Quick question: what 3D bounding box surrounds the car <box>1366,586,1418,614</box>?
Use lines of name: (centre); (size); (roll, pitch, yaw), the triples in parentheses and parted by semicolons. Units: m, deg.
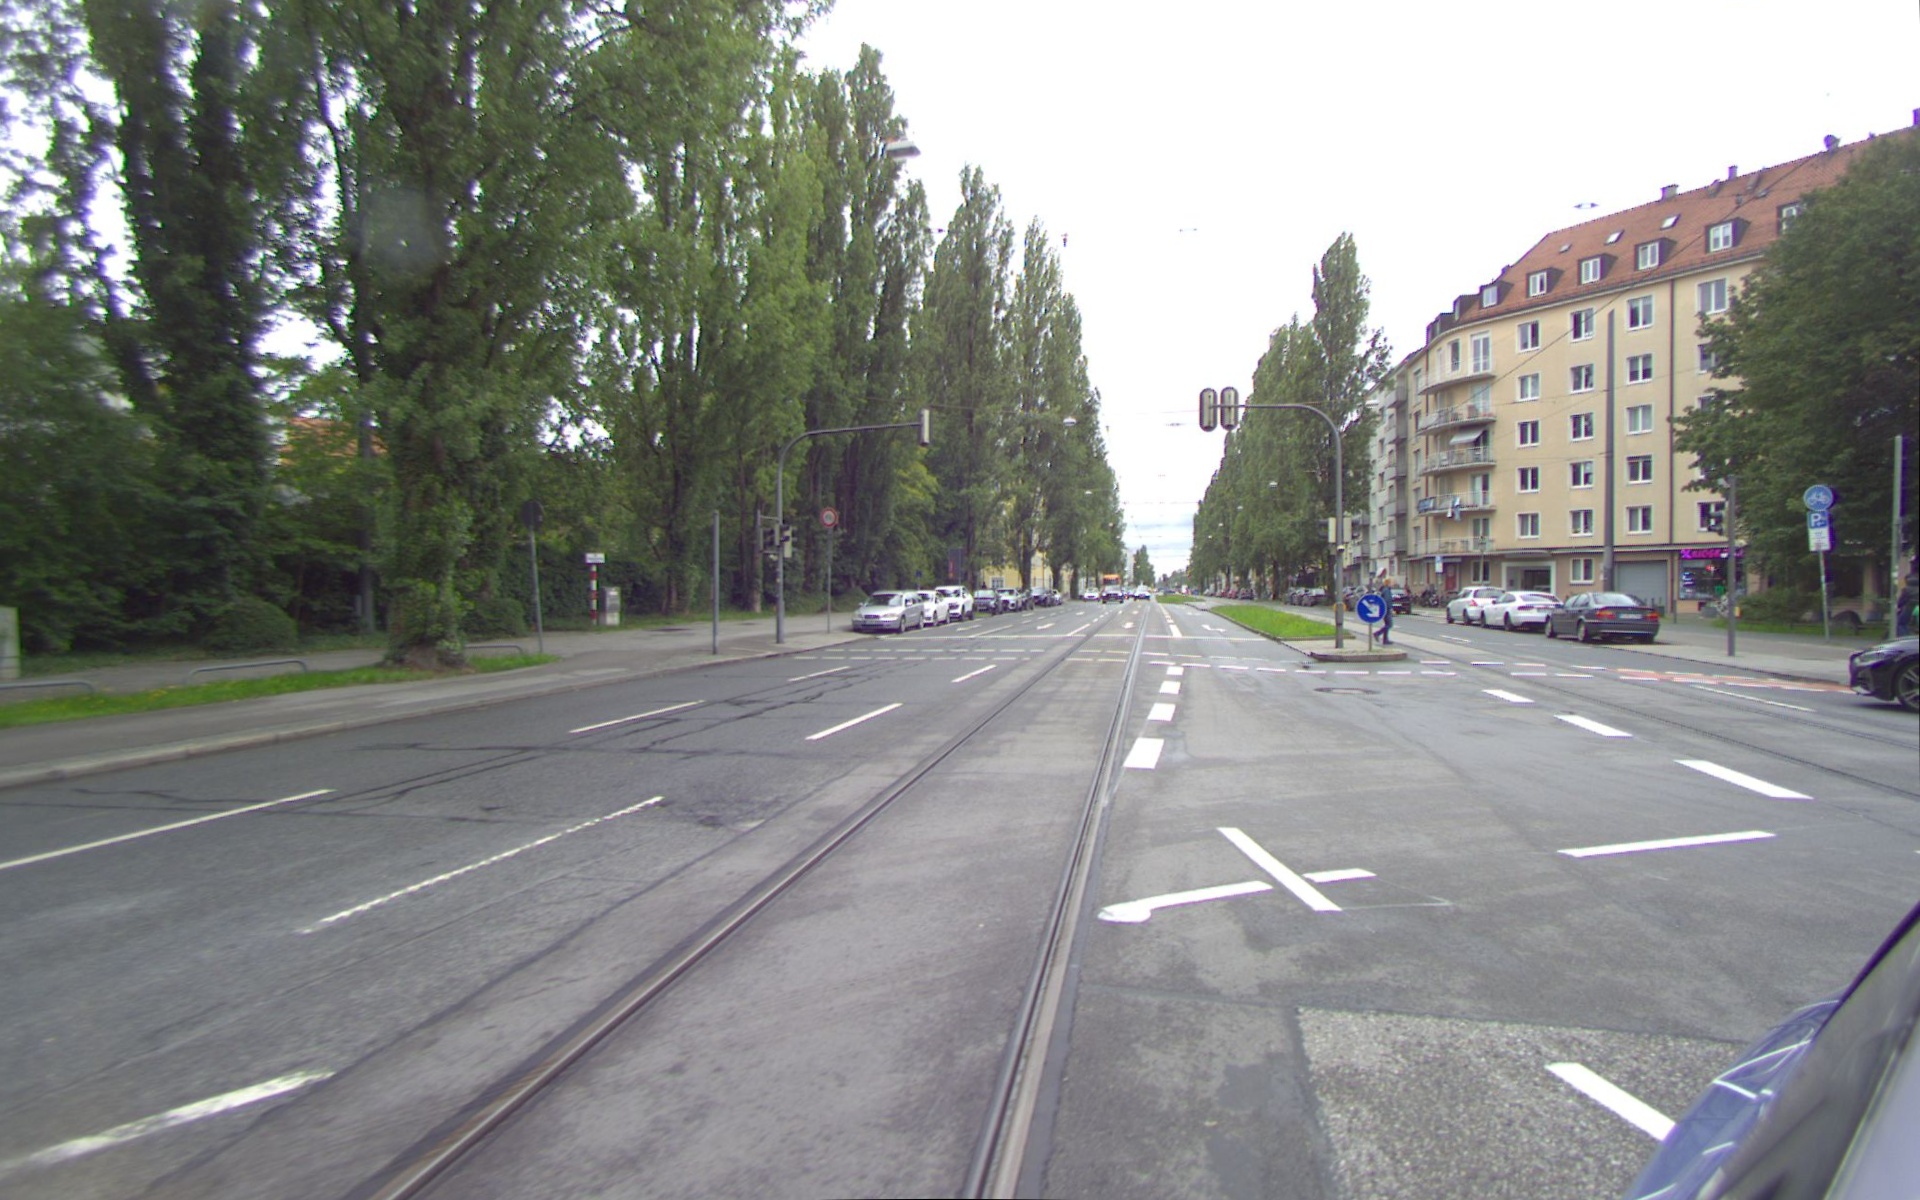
car: (23.220, -0.016, 54.576); (1.704, 1.424, 4.460); (0, 1, 12)

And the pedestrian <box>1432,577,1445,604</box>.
pedestrian: (30.651, -0.608, 64.840); (0.537, 1.686, 0.651); (-1, -1, 7)

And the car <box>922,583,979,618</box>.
car: (-0.380, -0.020, 46.609); (1.759, 1.504, 4.125); (0, 1, 12)

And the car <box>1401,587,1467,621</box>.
car: (21.496, 0.149, 46.057); (1.704, 1.424, 4.360); (0, 1, 12)

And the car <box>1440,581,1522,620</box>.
car: (20.347, -0.022, 39.692); (1.704, 1.424, 4.360); (0, 1, 12)

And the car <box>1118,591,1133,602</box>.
car: (22.057, -0.483, 134.992); (1.759, 1.504, 4.125); (0, 1, 12)

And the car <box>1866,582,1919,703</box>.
car: (12.984, 0.504, 10.767); (1.698, 1.407, 4.794); (-1, 1, -38)

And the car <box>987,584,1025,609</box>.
car: (2.955, -0.220, 63.947); (1.759, 1.504, 4.125); (0, 1, 12)

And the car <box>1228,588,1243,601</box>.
car: (40.475, -0.776, 148.793); (1.789, 1.740, 3.988); (-1, -1, 9)

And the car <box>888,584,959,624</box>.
car: (-1.414, 0.124, 41.401); (1.761, 1.504, 4.240); (0, 1, 15)

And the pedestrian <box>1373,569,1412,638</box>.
pedestrian: (10.635, 0.088, 24.890); (0.688, 1.684, 0.552); (1, -2, -33)

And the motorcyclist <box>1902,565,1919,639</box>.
motorcyclist: (19.346, 0.036, 20.093); (0.613, 1.461, 0.876); (-1, 0, 20)

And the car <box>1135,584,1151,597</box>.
car: (21.532, -1.097, 118.969); (1.759, 1.504, 4.125); (0, 1, 12)

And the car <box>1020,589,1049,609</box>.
car: (5.983, -0.117, 80.715); (1.759, 1.504, 4.125); (0, 1, 12)

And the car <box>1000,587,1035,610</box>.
car: (3.971, -0.138, 69.243); (1.759, 1.504, 4.125); (0, 1, 12)

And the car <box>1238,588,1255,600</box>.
car: (39.019, -0.810, 138.057); (1.789, 1.489, 3.988); (-1, -1, 9)

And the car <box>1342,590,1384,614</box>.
car: (25.008, 0.105, 62.857); (1.704, 1.424, 4.194); (0, 1, 12)

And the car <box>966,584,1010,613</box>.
car: (1.630, -0.102, 56.974); (1.759, 1.504, 4.125); (0, 1, 12)

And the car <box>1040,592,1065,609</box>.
car: (8.431, 0.032, 92.190); (1.759, 1.504, 4.125); (0, 1, 12)

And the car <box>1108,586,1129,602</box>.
car: (15.119, -0.582, 96.472); (1.759, 1.504, 4.125); (0, 1, 12)

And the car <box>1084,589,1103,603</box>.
car: (15.006, -0.441, 113.518); (1.759, 1.504, 4.125); (0, 1, 12)

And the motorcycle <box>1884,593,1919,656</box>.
motorcycle: (19.378, 0.495, 20.163); (0.622, 1.184, 2.018); (-2, 1, 19)

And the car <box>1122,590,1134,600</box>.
car: (27.083, -0.848, 163.095); (1.759, 1.504, 4.125); (0, 1, 12)

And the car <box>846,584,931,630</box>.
car: (-2.480, 0.207, 35.987); (1.760, 1.504, 4.334); (0, 1, 14)

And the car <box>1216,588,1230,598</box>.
car: (46.545, -1.234, 179.206); (1.967, 1.728, 3.988); (-1, -1, 9)

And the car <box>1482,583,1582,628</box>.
car: (19.312, 0.140, 34.369); (1.704, 1.424, 4.360); (0, 1, 12)

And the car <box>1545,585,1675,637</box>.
car: (17.983, 0.257, 28.197); (1.704, 1.332, 3.987); (0, 1, 12)

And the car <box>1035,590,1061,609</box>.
car: (7.609, -0.050, 87.536); (1.759, 1.504, 4.125); (0, 1, 12)
